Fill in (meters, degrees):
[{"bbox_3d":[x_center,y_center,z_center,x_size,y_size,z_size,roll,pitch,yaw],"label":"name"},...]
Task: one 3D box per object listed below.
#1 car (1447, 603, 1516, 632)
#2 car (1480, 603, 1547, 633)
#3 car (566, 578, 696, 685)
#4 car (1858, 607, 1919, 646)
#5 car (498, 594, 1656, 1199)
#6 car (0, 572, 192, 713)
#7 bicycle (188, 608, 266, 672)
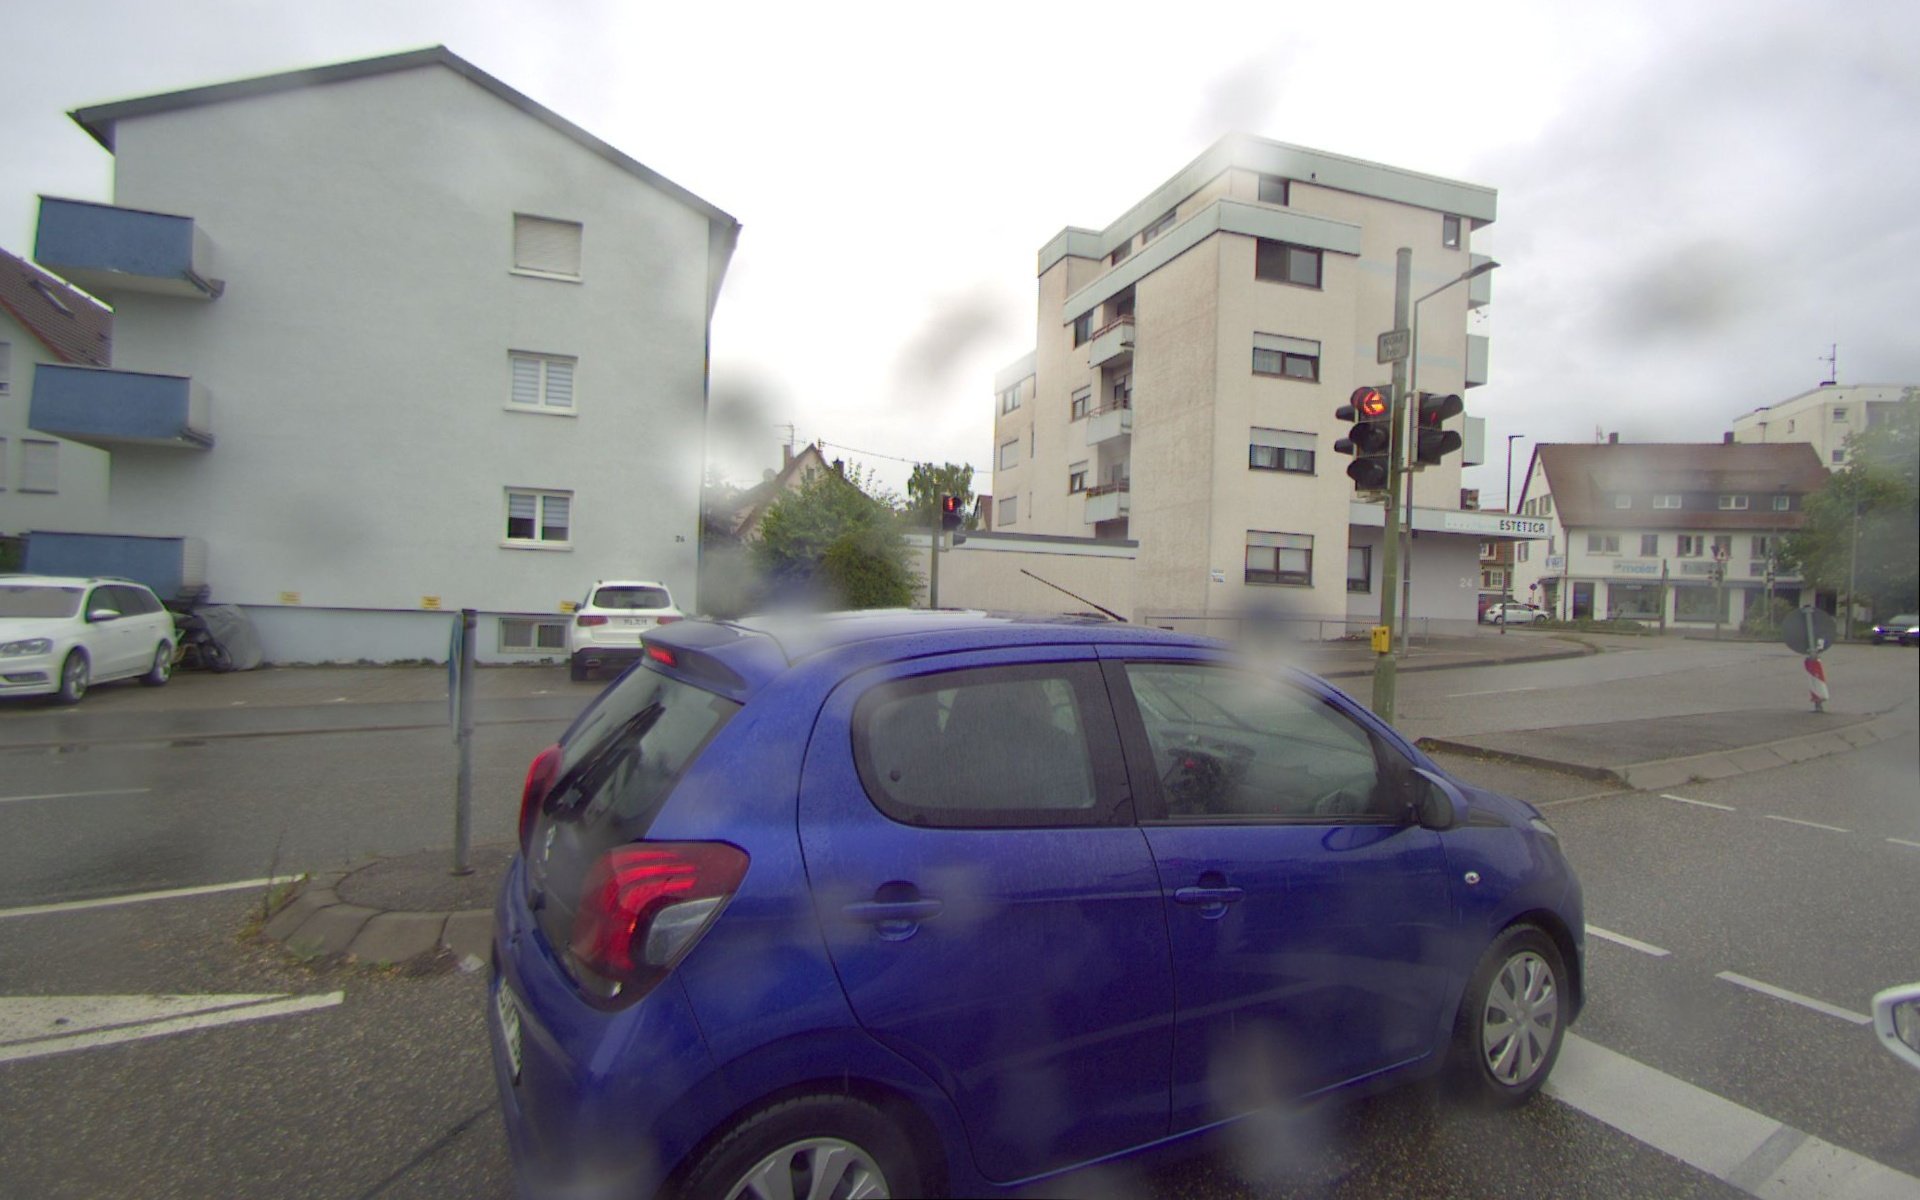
[{"bbox_3d":[37.215,1.242,71.727,3.987,1.868,1.889,2,0,14],"label":"car"},{"bbox_3d":[37.923,1.237,68.896,3.611,1.946,1.889,2,0,14],"label":"car"},{"bbox_3d":[-5.764,0.503,17.579,1.884,1.637,3.983,2,0,-19],"label":"car"},{"bbox_3d":[42.463,1.215,45.116,4.488,1.646,1.983,2,0,-32],"label":"car"},{"bbox_3d":[0.467,0.734,3.103,3.324,1.432,1.498,1,1,-30],"label":"car"},{"bbox_3d":[-11.482,0.449,12.509,1.854,1.480,4.732,1,-1,-23],"label":"car"},{"bbox_3d":[-12.695,0.682,17.424,1.053,1.067,0.345,0,1,-30],"label":"bicycle"}]
